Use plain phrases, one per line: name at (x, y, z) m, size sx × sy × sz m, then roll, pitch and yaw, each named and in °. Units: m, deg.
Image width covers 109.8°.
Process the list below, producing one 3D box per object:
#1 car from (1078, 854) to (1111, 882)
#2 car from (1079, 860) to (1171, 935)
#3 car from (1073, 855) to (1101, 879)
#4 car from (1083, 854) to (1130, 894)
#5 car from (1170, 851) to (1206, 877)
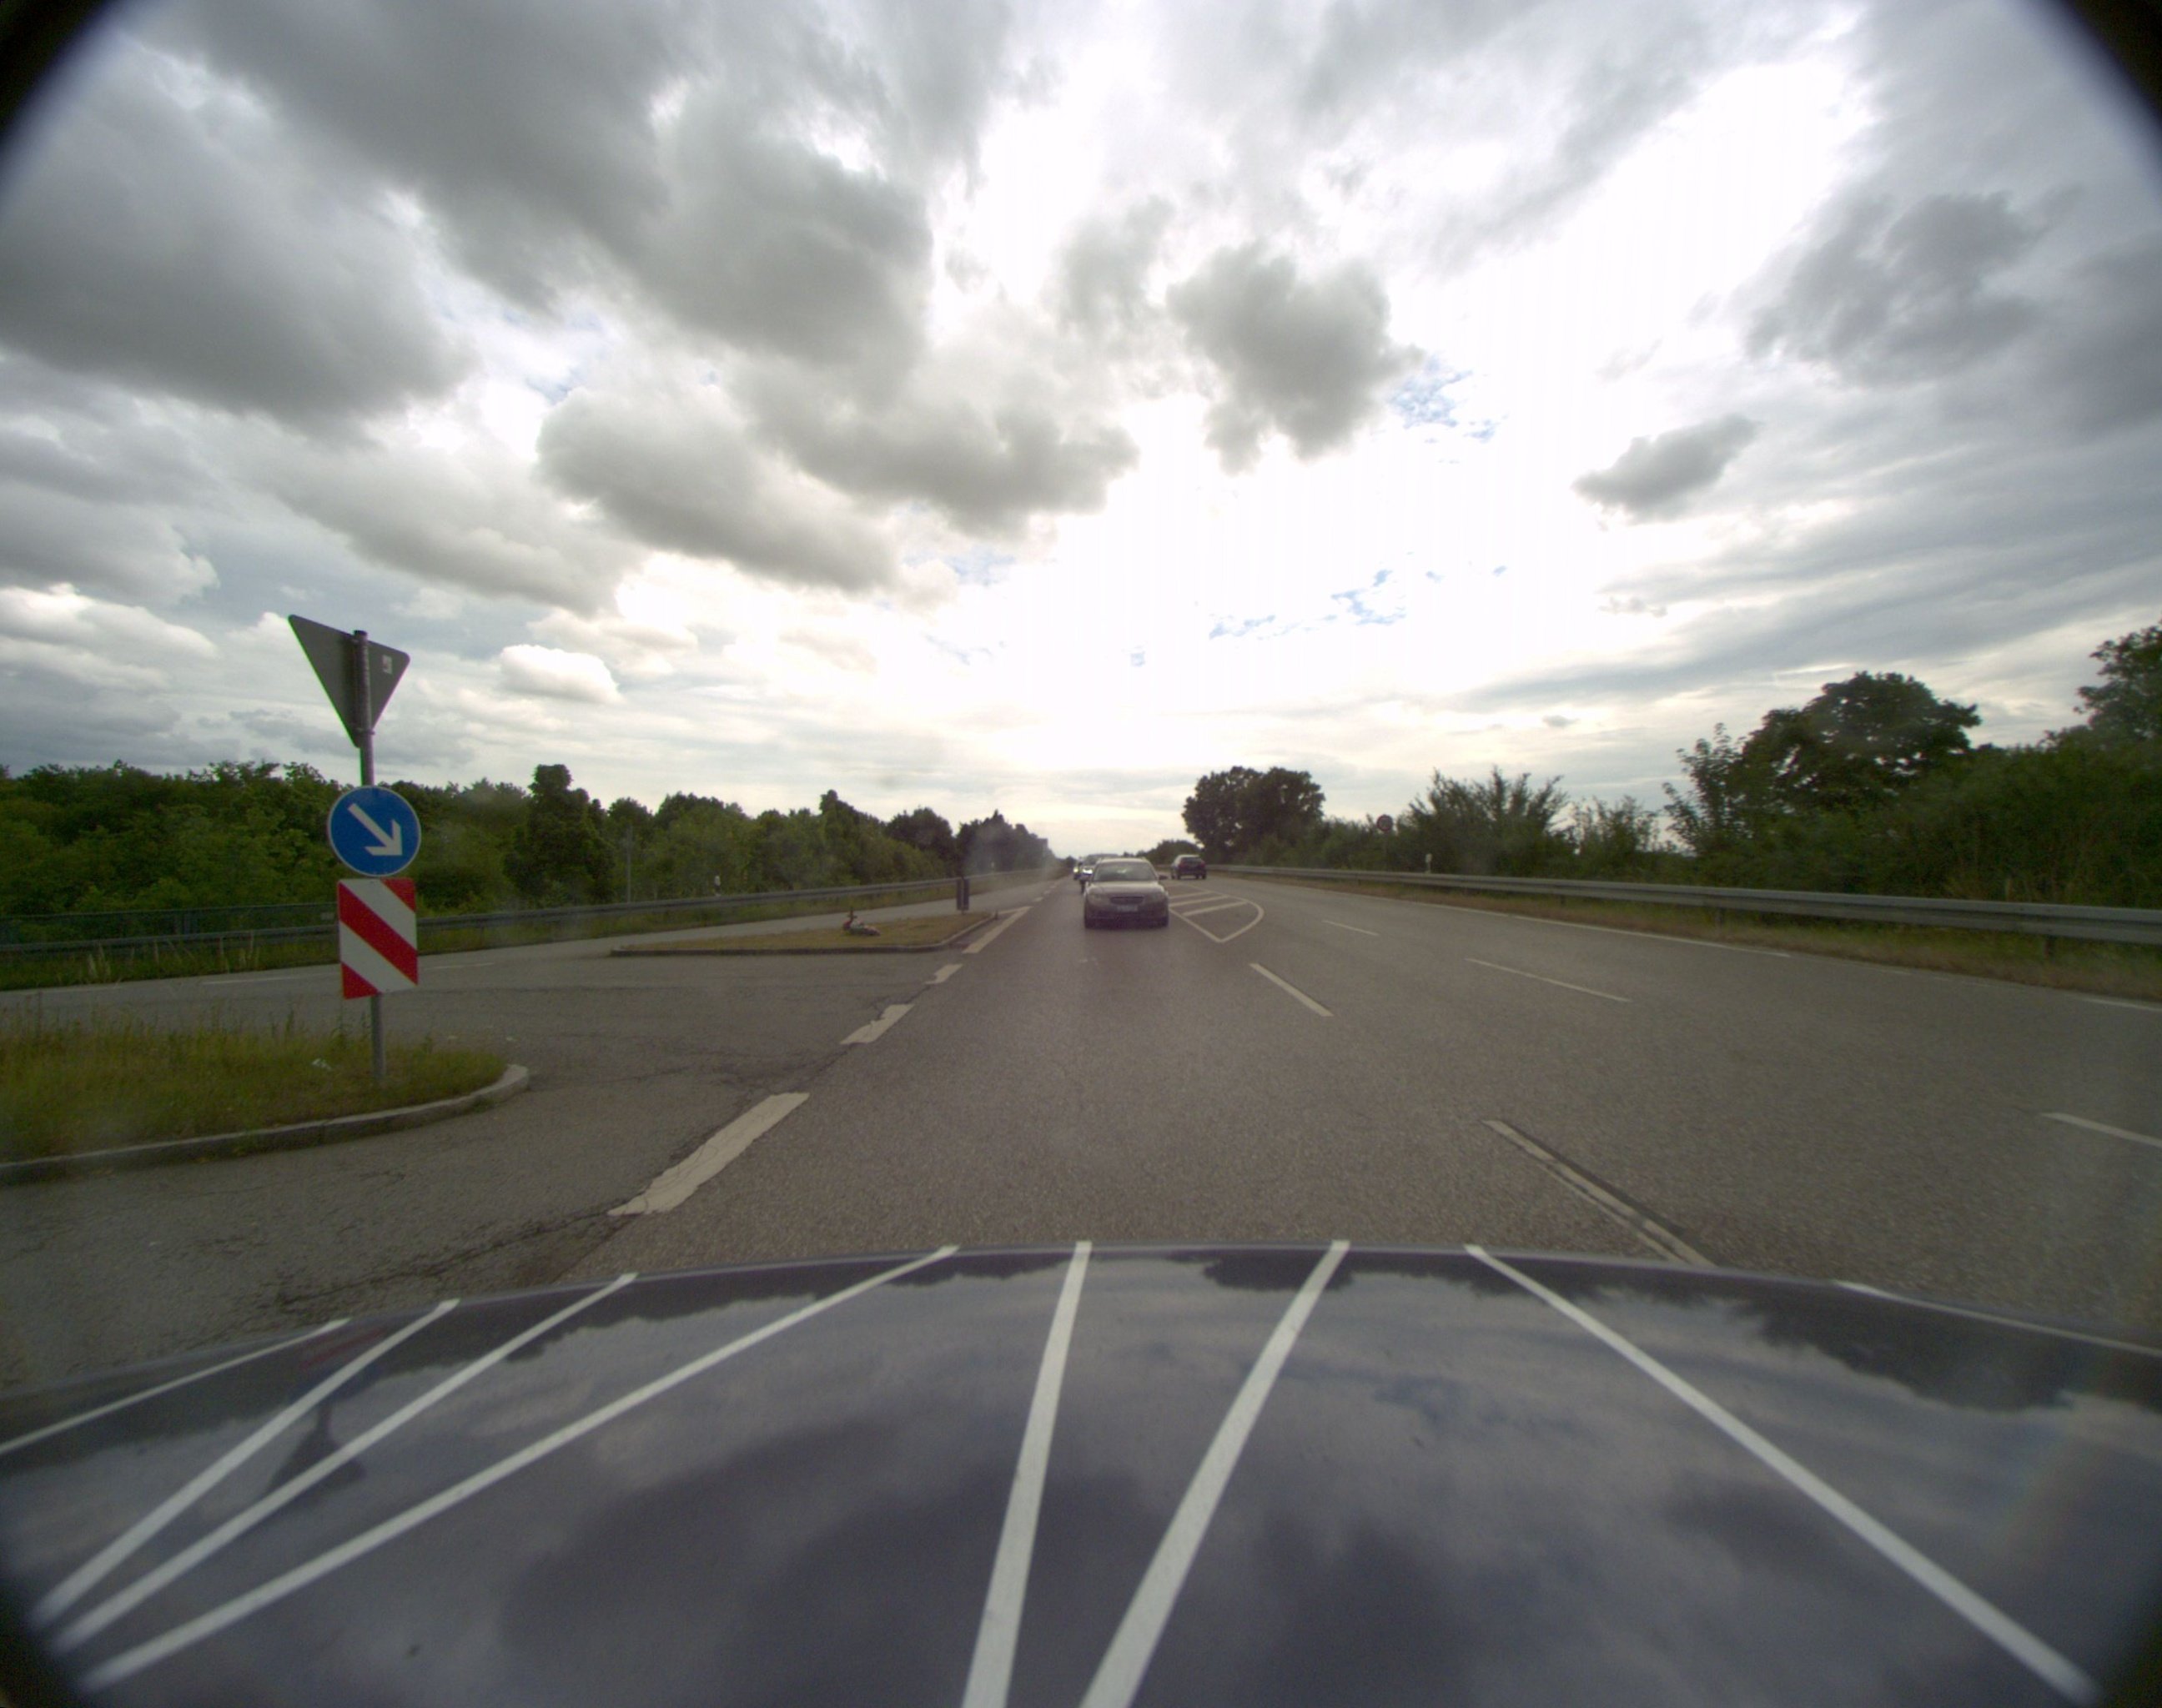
car at (0.771, 0.809, 45.183) m, size 1.835 × 1.537 × 4.035 m, roll -1°, pitch 0°, yaw 1°
car at (0.885, 0.877, 16.937) m, size 1.784 × 1.441 × 4.035 m, roll -1°, pitch 0°, yaw 1°
car at (0.434, 0.900, 53.782) m, size 1.835 × 1.537 × 4.035 m, roll -1°, pitch 0°, yaw 1°
car at (1.023, 0.794, 32.102) m, size 1.835 × 1.537 × 4.035 m, roll -1°, pitch 0°, yaw 1°
car at (6.675, 0.580, 47.646) m, size 1.715 × 1.514 × 4.000 m, roll -1°, pitch 0°, yaw 1°
